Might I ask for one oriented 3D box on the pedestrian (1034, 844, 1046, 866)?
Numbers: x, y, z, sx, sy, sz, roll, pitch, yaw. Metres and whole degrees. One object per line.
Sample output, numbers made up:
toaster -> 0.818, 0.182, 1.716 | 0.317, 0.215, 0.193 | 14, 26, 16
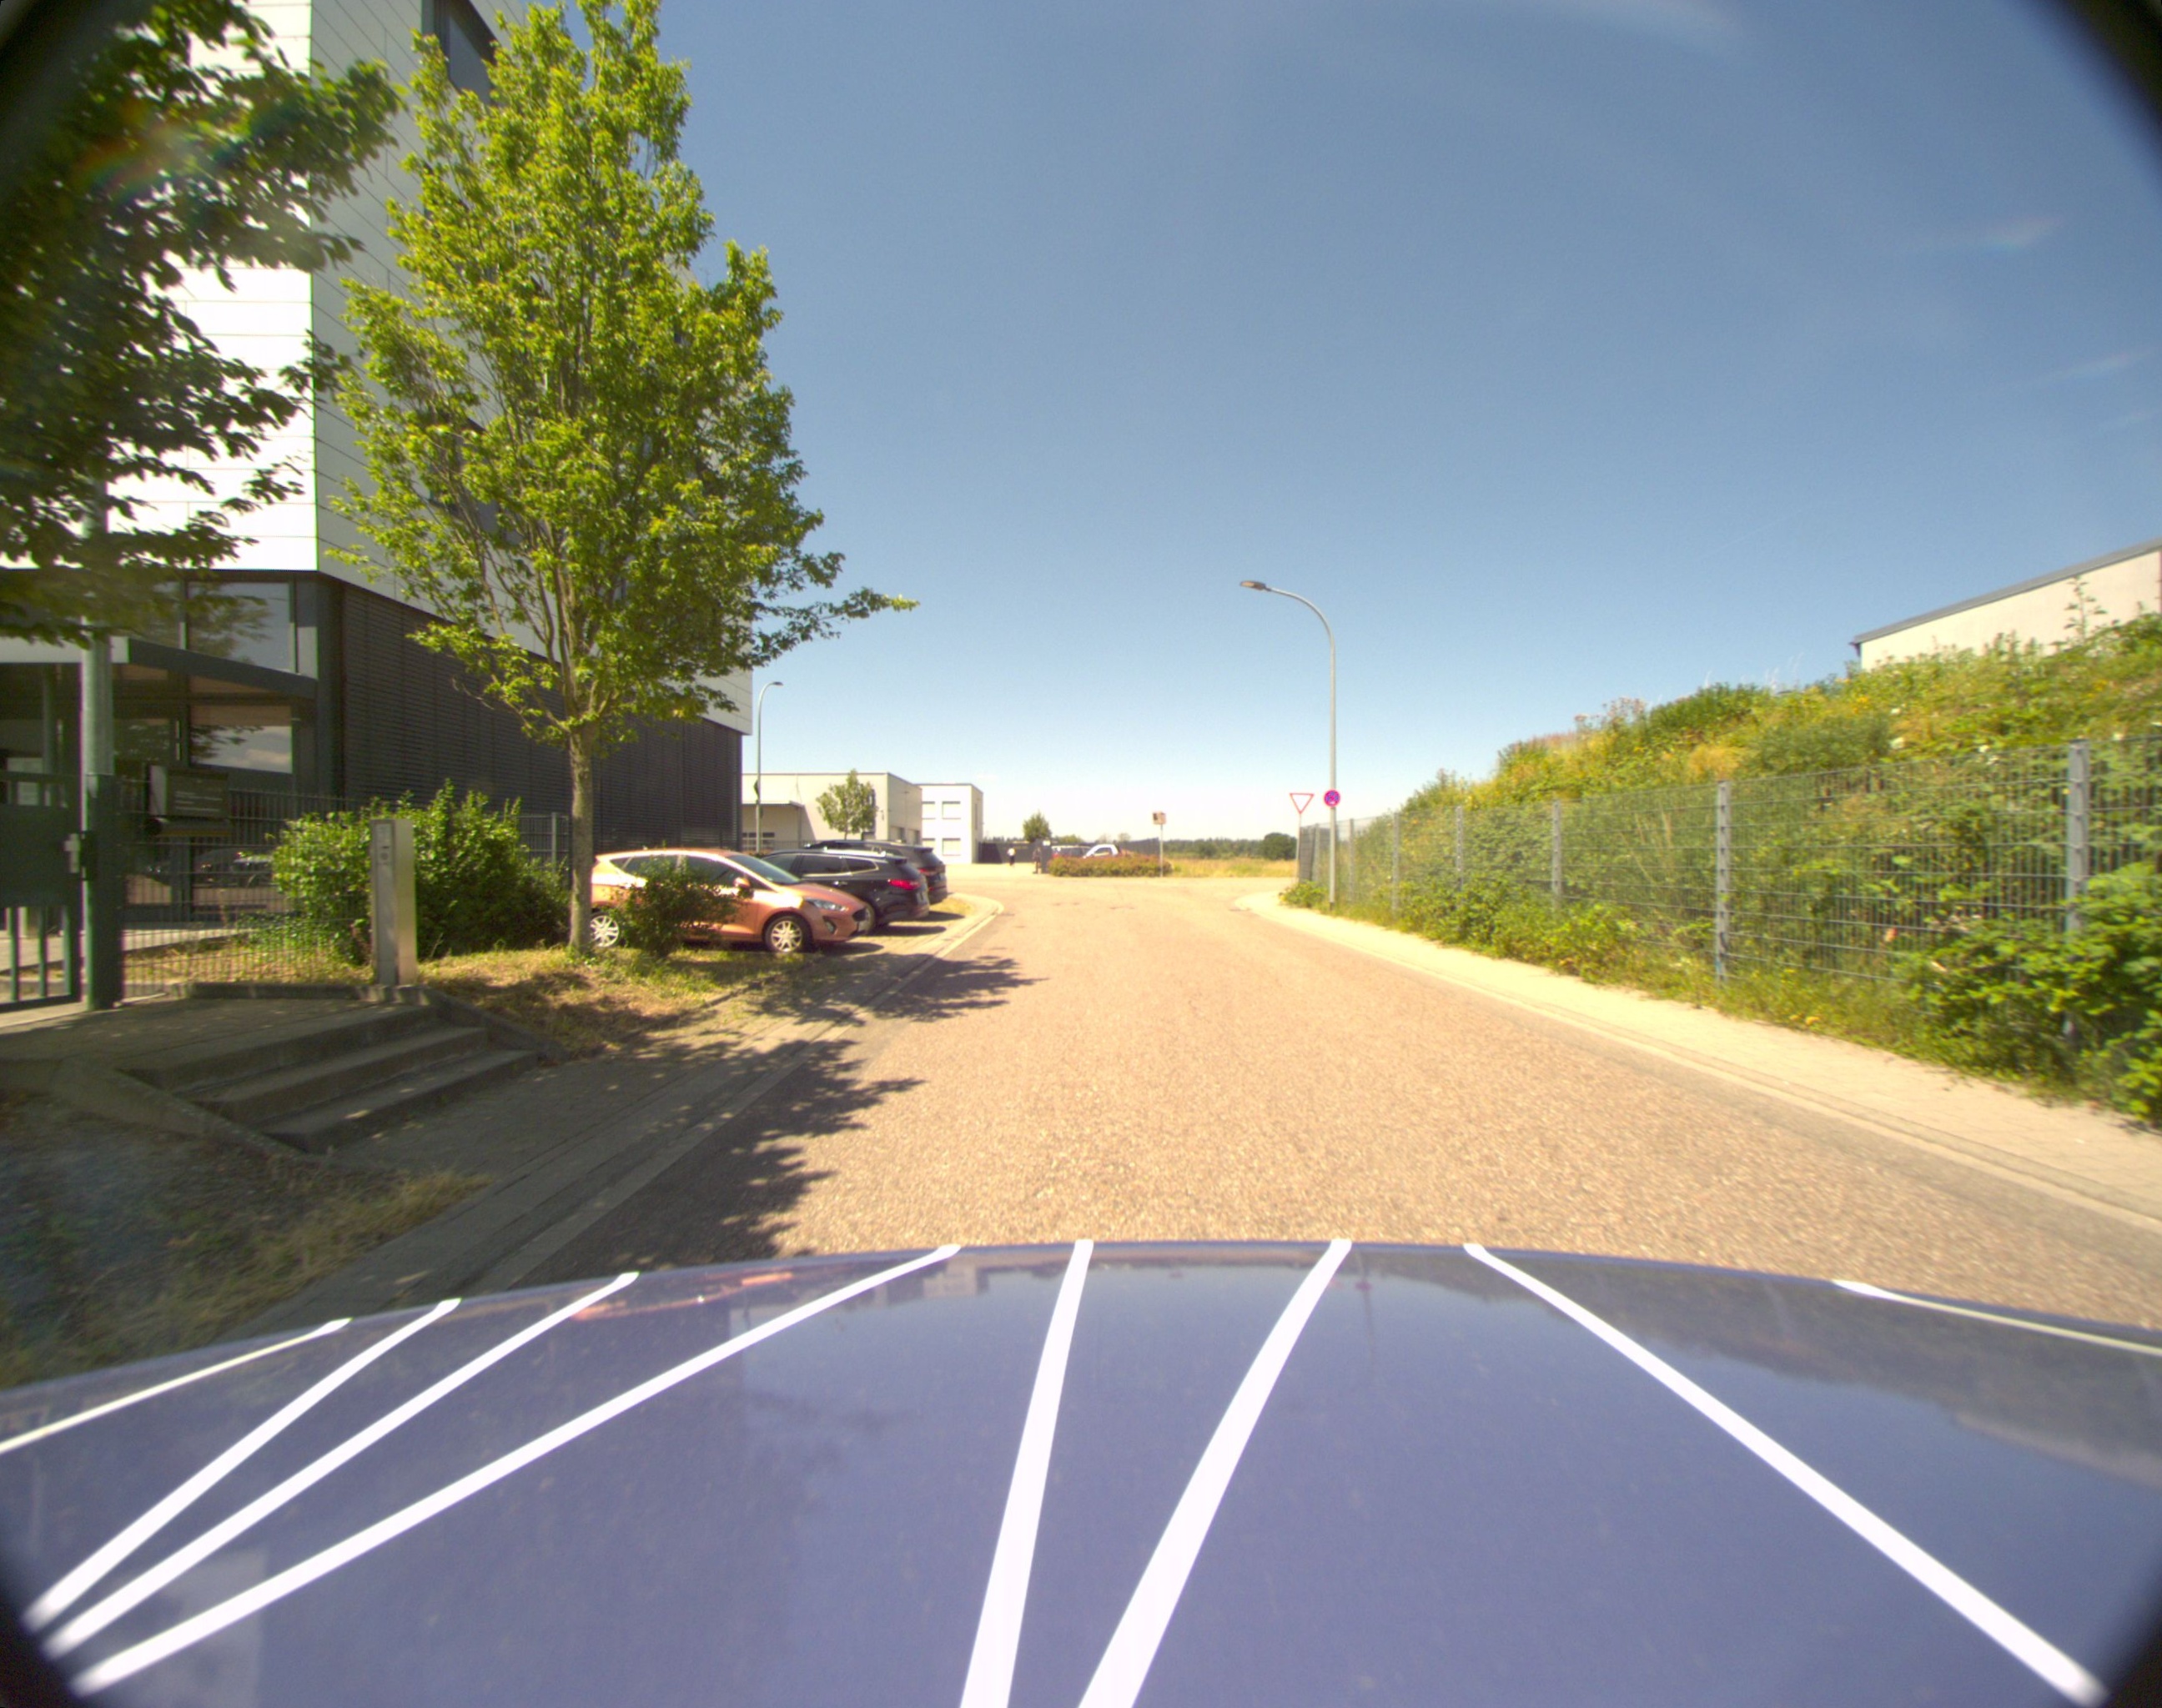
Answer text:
pedestrian -> -3.190, 0.048, 58.726 | 0.830, 1.673, 0.711 | 0, 1, -9

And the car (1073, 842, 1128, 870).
car -> 1.078, 0.106, 43.610 | 2.996, 1.511, 1.705 | 0, 0, -3

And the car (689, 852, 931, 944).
car -> -4.720, 0.741, 13.655 | 3.722, 1.486, 1.781 | 1, 1, -2

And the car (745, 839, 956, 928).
car -> -4.898, 0.591, 16.464 | 3.996, 1.755, 1.725 | 1, 1, 3

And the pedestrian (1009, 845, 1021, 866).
pedestrian -> -5.177, 0.086, 59.584 | 0.775, 1.620, 0.620 | 0, 1, -15

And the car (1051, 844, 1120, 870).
car -> 0.236, 0.182, 45.811 | 3.998, 1.532, 1.830 | 0, 0, -3

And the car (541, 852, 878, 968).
car -> -5.164, 0.755, 10.985 | 3.998, 1.486, 1.724 | 1, 1, -2

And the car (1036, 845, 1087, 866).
car -> -1.551, 0.124, 60.325 | 3.998, 1.596, 1.676 | 0, 0, -4
